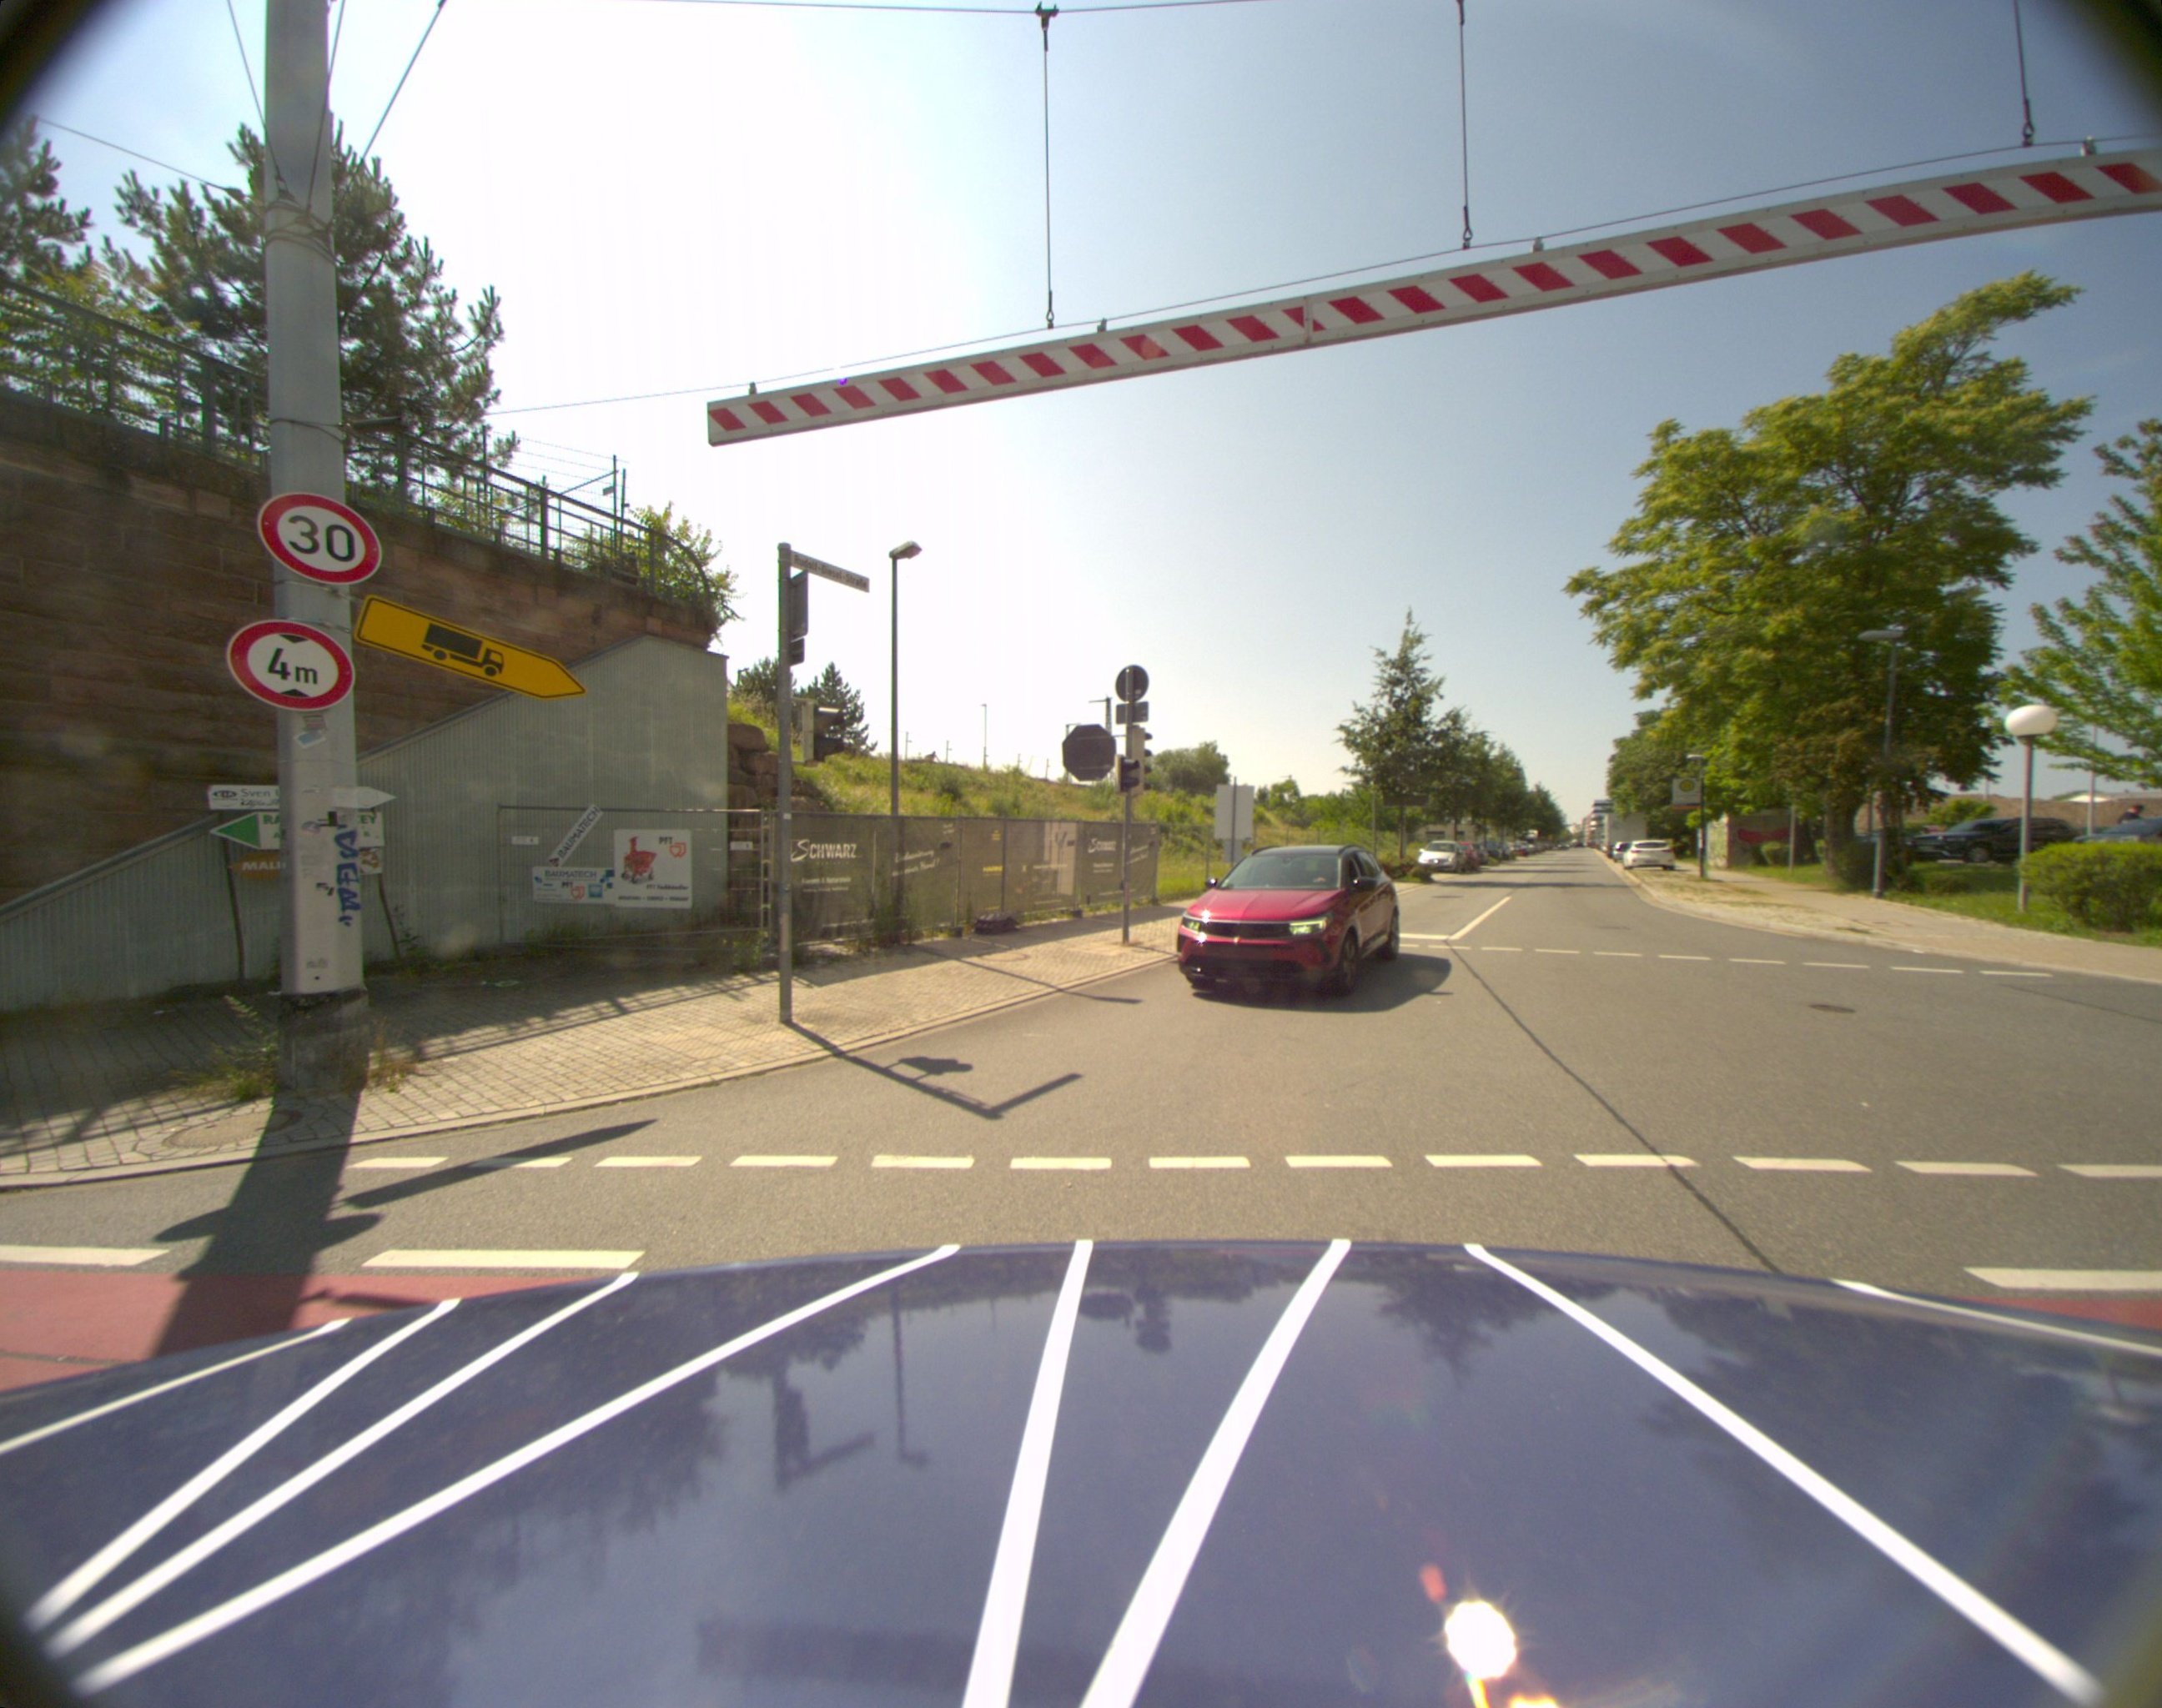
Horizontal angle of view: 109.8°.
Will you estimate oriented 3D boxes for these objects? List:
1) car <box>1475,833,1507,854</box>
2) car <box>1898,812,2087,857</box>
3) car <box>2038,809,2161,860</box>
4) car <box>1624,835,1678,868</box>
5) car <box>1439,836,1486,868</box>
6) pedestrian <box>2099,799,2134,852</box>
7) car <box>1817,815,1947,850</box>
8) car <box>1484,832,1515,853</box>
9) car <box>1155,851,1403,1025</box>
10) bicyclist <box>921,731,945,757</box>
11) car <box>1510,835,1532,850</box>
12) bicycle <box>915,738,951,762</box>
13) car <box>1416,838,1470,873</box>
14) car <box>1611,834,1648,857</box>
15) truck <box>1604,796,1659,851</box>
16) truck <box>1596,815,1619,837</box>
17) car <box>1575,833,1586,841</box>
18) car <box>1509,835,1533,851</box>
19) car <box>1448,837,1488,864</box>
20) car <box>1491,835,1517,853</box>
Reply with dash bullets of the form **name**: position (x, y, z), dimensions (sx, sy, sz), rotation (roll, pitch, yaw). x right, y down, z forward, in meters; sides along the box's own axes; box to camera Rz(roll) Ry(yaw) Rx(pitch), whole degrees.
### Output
- **car**: position (30.812, -0.787, 57.050), dimensions (1.865, 1.533, 4.007), rotation (0, 1, 33)
- **car**: position (33.866, -0.699, 28.323), dimensions (4.812, 1.484, 1.852), rotation (-2, 1, 0)
- **car**: position (29.576, -0.573, 20.828), dimensions (3.983, 1.330, 1.720), rotation (-2, 1, 12)
- **car**: position (27.598, -0.166, 36.869), dimensions (1.762, 1.484, 4.007), rotation (-1, 1, 32)
- **car**: position (21.353, -0.145, 42.415), dimensions (1.843, 1.607, 4.008), rotation (3, 3, 33)
- **pedestrian**: position (30.279, -0.824, 22.218), dimensions (0.758, 1.518, 0.563), rotation (-2, 2, -35)
- **car**: position (42.954, -1.120, 40.816), dimensions (4.712, 1.793, 2.000), rotation (0, 1, 3)
- **car**: position (34.362, -0.965, 62.298), dimensions (1.843, 1.607, 4.008), rotation (3, 3, 33)
- **car**: position (2.671, 0.788, 9.386), dimensions (1.818, 1.594, 4.315), rotation (-1, 0, 31)
- **bicyclist**: position (-8.919, -6.622, 45.878), dimensions (0.951, 1.380, 1.064), rotation (-1, 2, 24)
- **car**: position (49.952, -1.327, 86.225), dimensions (1.843, 1.607, 4.008), rotation (2, 2, 33)
- **bicycle**: position (-8.914, -6.255, 45.864), dimensions (0.935, 1.206, 2.177), rotation (-1, 2, 24)
- **car**: position (18.627, 0.026, 38.990), dimensions (1.842, 1.607, 4.378), rotation (4, 3, 33)
- **car**: position (38.204, -0.626, 52.958), dimensions (1.811, 1.506, 4.007), rotation (-1, 1, 32)
- **truck**: position (45.726, -2.437, 63.363), dimensions (3.346, 4.119, 9.295), rotation (-1, 1, 34)
- **truck**: position (80.880, -4.242, 116.672), dimensions (2.696, 3.301, 7.357), rotation (1, 2, 36)
- **car**: position (109.888, -3.722, 167.168), dimensions (1.787, 1.784, 4.008), rotation (0, 2, 35)
- **car**: position (45.976, -1.203, 79.384), dimensions (1.843, 1.607, 4.008), rotation (2, 2, 33)
- **car**: position (24.983, -0.281, 48.992), dimensions (1.843, 1.607, 4.008), rotation (3, 3, 33)
- **car**: position (40.254, -0.951, 72.305), dimensions (1.843, 1.607, 4.008), rotation (2, 2, 33)
